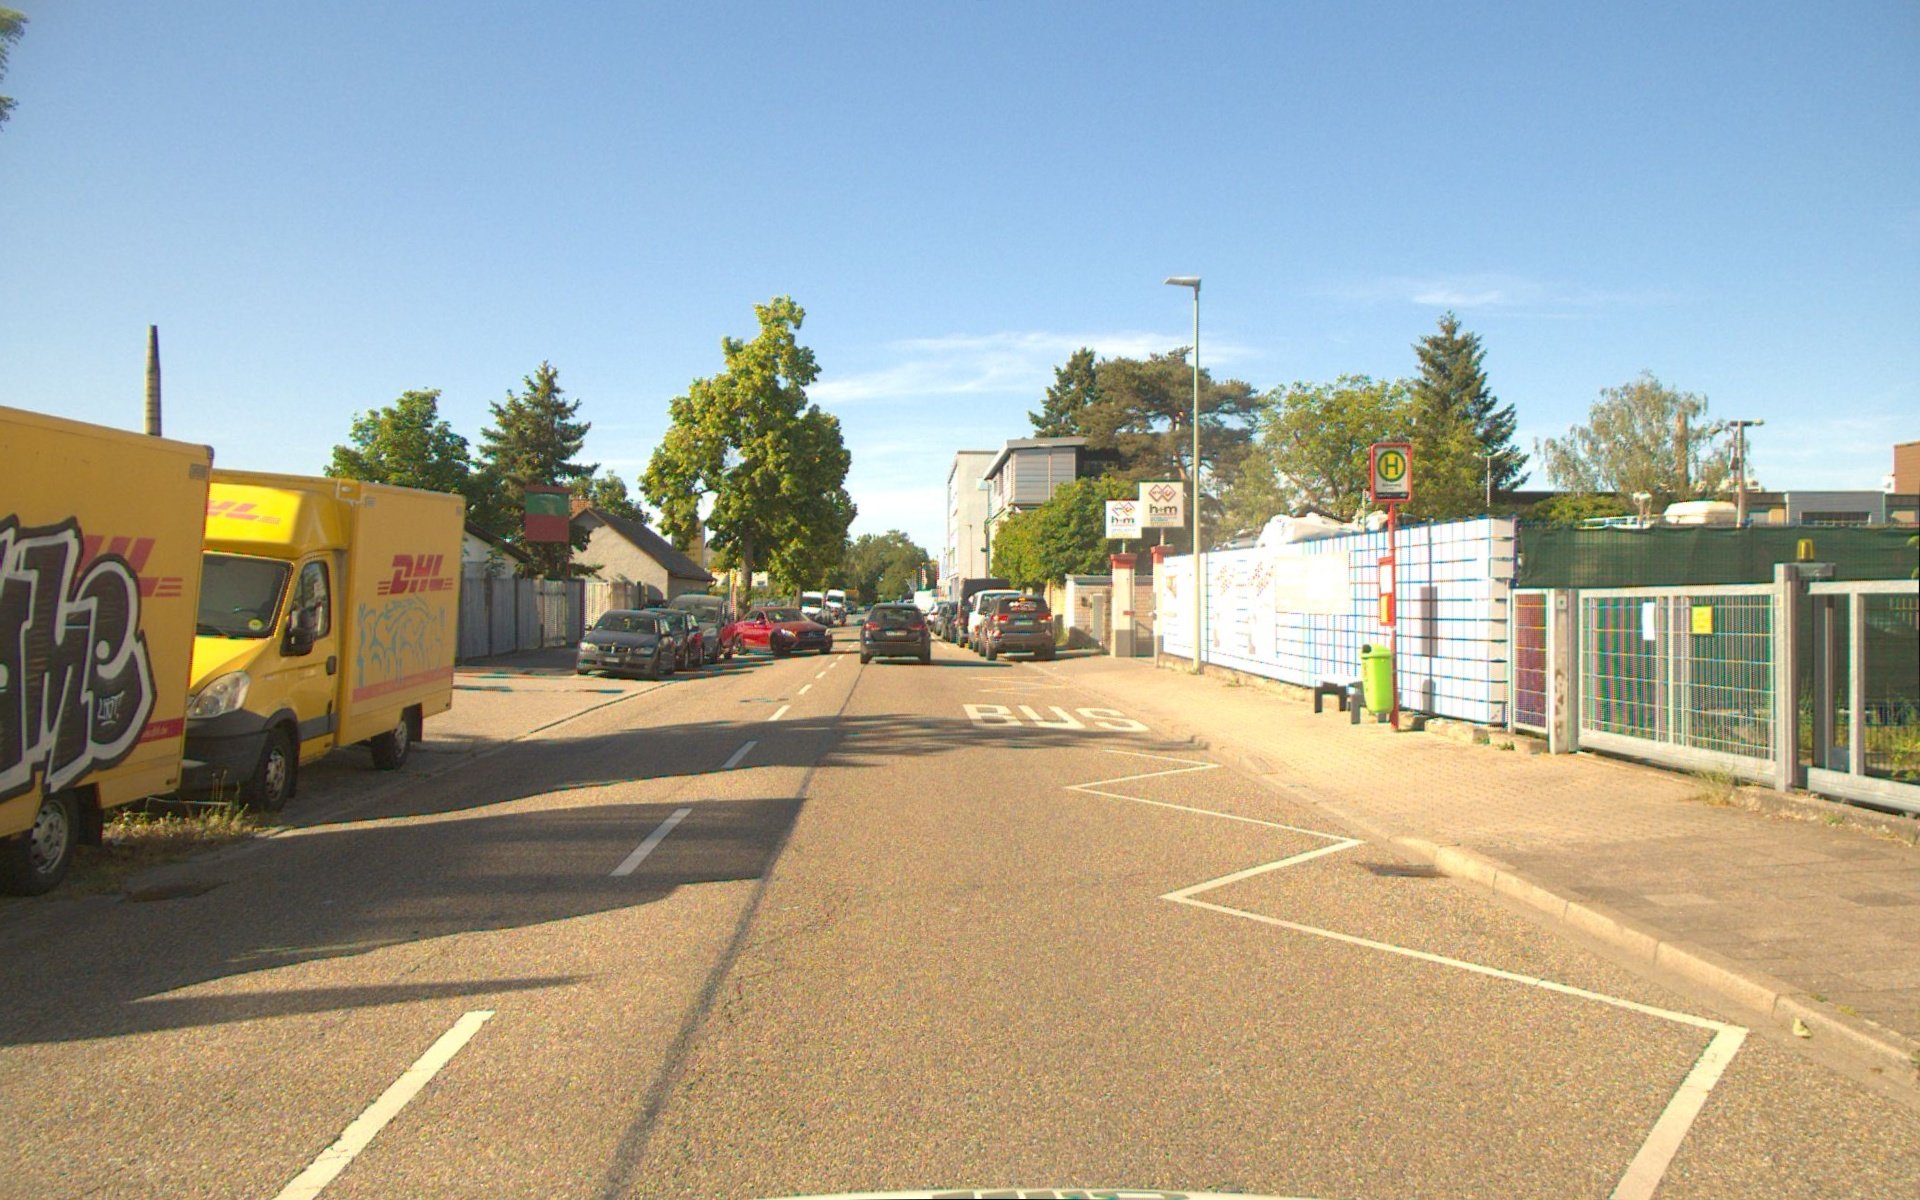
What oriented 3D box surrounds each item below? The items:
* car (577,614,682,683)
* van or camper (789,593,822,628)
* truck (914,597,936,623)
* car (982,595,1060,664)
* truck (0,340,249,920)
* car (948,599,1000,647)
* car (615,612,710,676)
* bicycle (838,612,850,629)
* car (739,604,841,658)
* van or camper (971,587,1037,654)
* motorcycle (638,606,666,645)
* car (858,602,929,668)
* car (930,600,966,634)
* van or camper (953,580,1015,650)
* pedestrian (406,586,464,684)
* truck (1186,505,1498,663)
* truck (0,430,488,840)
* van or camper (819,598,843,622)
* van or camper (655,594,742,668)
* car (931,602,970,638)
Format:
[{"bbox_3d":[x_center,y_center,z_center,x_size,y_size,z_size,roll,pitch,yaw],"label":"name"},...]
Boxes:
[{"bbox_3d":[-7.345,1.040,37.140,1.722,1.428,4.554,0,0,-4],"label":"car"},{"bbox_3d":[-11.169,0.739,119.072,2.278,2.403,6.520,0,0,-6],"label":"van or camper"},{"bbox_3d":[-3.209,0.946,152.044,1.953,2.328,6.952,0,0,-2],"label":"truck"},{"bbox_3d":[1.659,0.798,46.337,1.880,1.857,4.078,0,0,-2],"label":"car"},{"bbox_3d":[-6.192,0.134,8.555,2.354,3.035,6.371,2,0,-2],"label":"truck"},{"bbox_3d":[0.521,0.882,65.428,1.880,1.857,4.078,0,0,-2],"label":"car"},{"bbox_3d":[-7.495,1.080,42.050,1.659,1.494,4.173,0,0,0],"label":"car"},{"bbox_3d":[-8.274,1.433,117.727,0.812,1.174,2.938,0,0,-4],"label":"bicycle"},{"bbox_3d":[-5.241,0.912,50.605,1.853,1.511,4.010,-2,1,-26],"label":"car"},{"bbox_3d":[1.378,0.632,53.057,1.880,2.055,4.078,0,0,-2],"label":"van or camper"},{"bbox_3d":[-11.792,0.956,63.345,0.761,1.470,2.037,0,0,-2],"label":"motorcycle"},{"bbox_3d":[-1.622,0.840,41.346,1.677,1.559,3.686,-1,0,-1],"label":"car"},{"bbox_3d":[-0.681,0.932,91.840,1.880,1.857,4.078,0,0,-2],"label":"car"},{"bbox_3d":[0.808,0.517,57.978,1.953,2.351,3.998,0,0,-2],"label":"van or camper"},{"bbox_3d":[-10.257,0.676,32.344,0.979,1.870,0.918,0,0,-12],"label":"pedestrian"},{"bbox_3d":[9.636,-0.388,42.145,7.232,3.837,2.829,0,0,-7],"label":"truck"},{"bbox_3d":[-6.383,0.259,15.399,2.148,2.952,6.437,2,0,-1],"label":"truck"},{"bbox_3d":[-13.172,0.998,168.648,2.278,2.403,6.520,0,0,-6],"label":"van or camper"},{"bbox_3d":[-7.371,0.869,46.977,1.852,1.959,4.265,-1,-1,-1],"label":"van or camper"},{"bbox_3d":[-0.505,1.023,85.704,1.880,1.857,4.078,0,0,-2],"label":"car"}]
